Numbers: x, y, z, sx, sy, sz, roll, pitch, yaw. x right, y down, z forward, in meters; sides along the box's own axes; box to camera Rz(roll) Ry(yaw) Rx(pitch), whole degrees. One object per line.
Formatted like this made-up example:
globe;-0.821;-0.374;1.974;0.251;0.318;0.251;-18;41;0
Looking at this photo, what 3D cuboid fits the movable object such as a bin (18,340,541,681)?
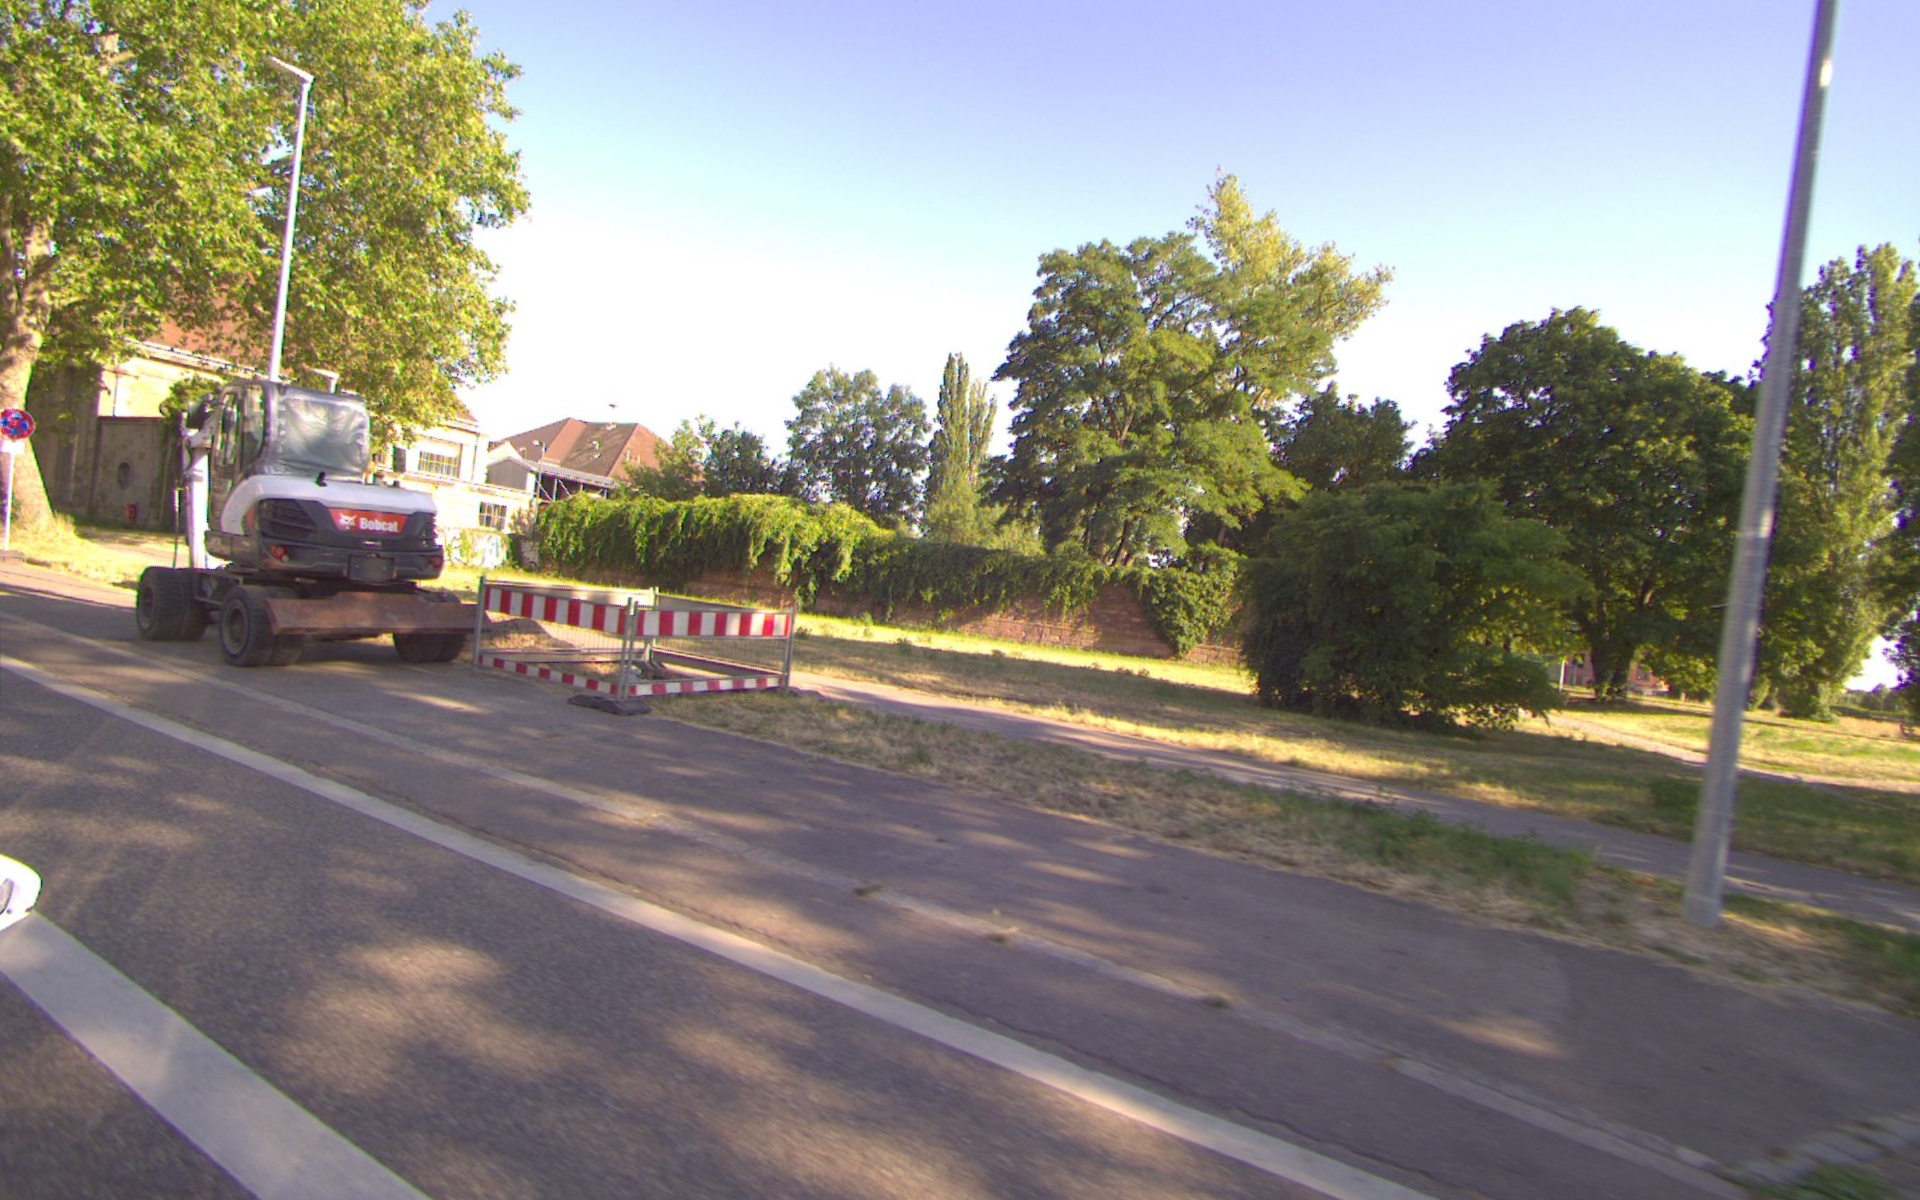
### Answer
movable object such as a bin;-8.680;-1.175;12.496;7.100;3.189;2.743;7;4;33
